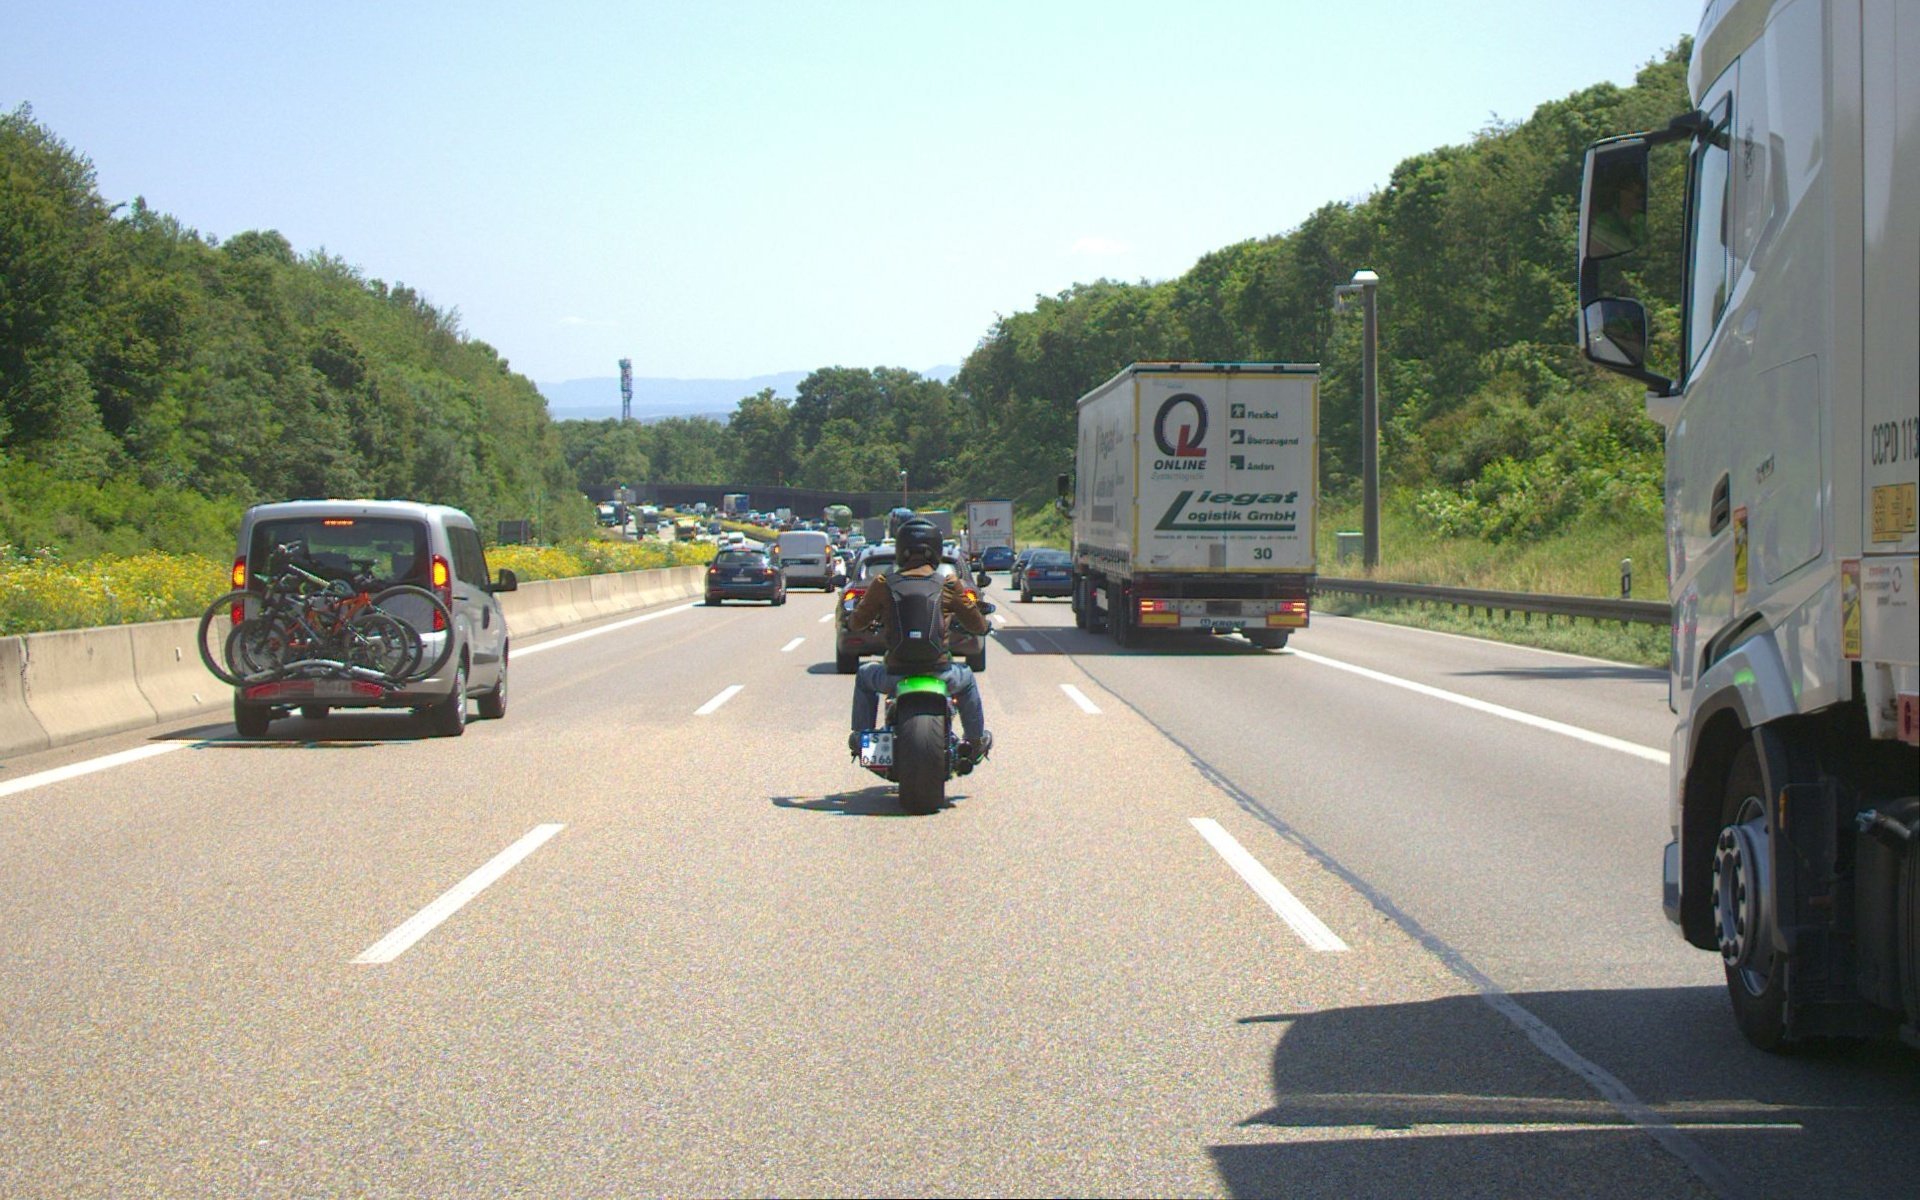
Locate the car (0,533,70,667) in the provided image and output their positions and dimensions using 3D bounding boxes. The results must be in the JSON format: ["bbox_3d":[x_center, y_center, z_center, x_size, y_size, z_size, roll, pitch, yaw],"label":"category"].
[{"bbox_3d":[-11.830,-0.006,40.240,1.788,1.516,4.204,-1,1,-1],"label":"car"}]

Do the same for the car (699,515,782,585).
[{"bbox_3d":[-5.233,-1.230,82.480,1.758,1.538,4.396,1,2,-1],"label":"car"}]

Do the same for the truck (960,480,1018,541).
[{"bbox_3d":[1.651,-5.192,198.124,3.067,3.335,9.653,2,2,-1],"label":"truck"}]

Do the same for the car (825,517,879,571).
[{"bbox_3d":[-3.829,-2.023,122.515,1.831,1.804,4.120,1,2,-1],"label":"car"}]

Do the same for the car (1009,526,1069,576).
[{"bbox_3d":[2.665,-1.668,116.558,1.831,1.553,4.120,1,2,-1],"label":"car"}]

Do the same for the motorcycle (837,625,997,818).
[{"bbox_3d":[-0.229,0.668,19.733,0.862,0.978,2.131,0,1,0],"label":"motorcycle"}]

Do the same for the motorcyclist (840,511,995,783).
[{"bbox_3d":[-0.233,0.250,19.582,0.856,1.509,0.914,0,1,0],"label":"motorcyclist"}]

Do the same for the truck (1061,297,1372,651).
[{"bbox_3d":[3.735,-2.008,55.508,3.383,4.701,17.711,2,2,-1],"label":"truck"}]

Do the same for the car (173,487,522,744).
[{"bbox_3d":[-4.786,0.040,27.636,1.898,1.841,5.484,1,1,-1],"label":"car"}]

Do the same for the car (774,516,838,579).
[{"bbox_3d":[-4.725,-1.629,105.613,1.831,1.804,4.120,1,2,-1],"label":"car"}]

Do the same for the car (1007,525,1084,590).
[{"bbox_3d":[2.227,-1.140,90.584,1.831,1.553,4.120,1,2,-1],"label":"car"}]

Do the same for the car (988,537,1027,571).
[{"bbox_3d":[2.385,-2.340,174.153,1.831,1.553,4.120,1,2,-1],"label":"car"}]

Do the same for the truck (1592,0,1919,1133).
[{"bbox_3d":[3.606,-0.722,6.696,2.680,4.045,10.627,1,2,0],"label":"truck"}]

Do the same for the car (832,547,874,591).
[{"bbox_3d":[-4.825,-1.416,155.583,1.831,1.804,4.120,1,2,-1],"label":"car"}]

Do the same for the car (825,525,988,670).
[{"bbox_3d":[-0.643,-0.075,41.518,1.845,1.552,4.440,1,2,-1],"label":"car"}]
